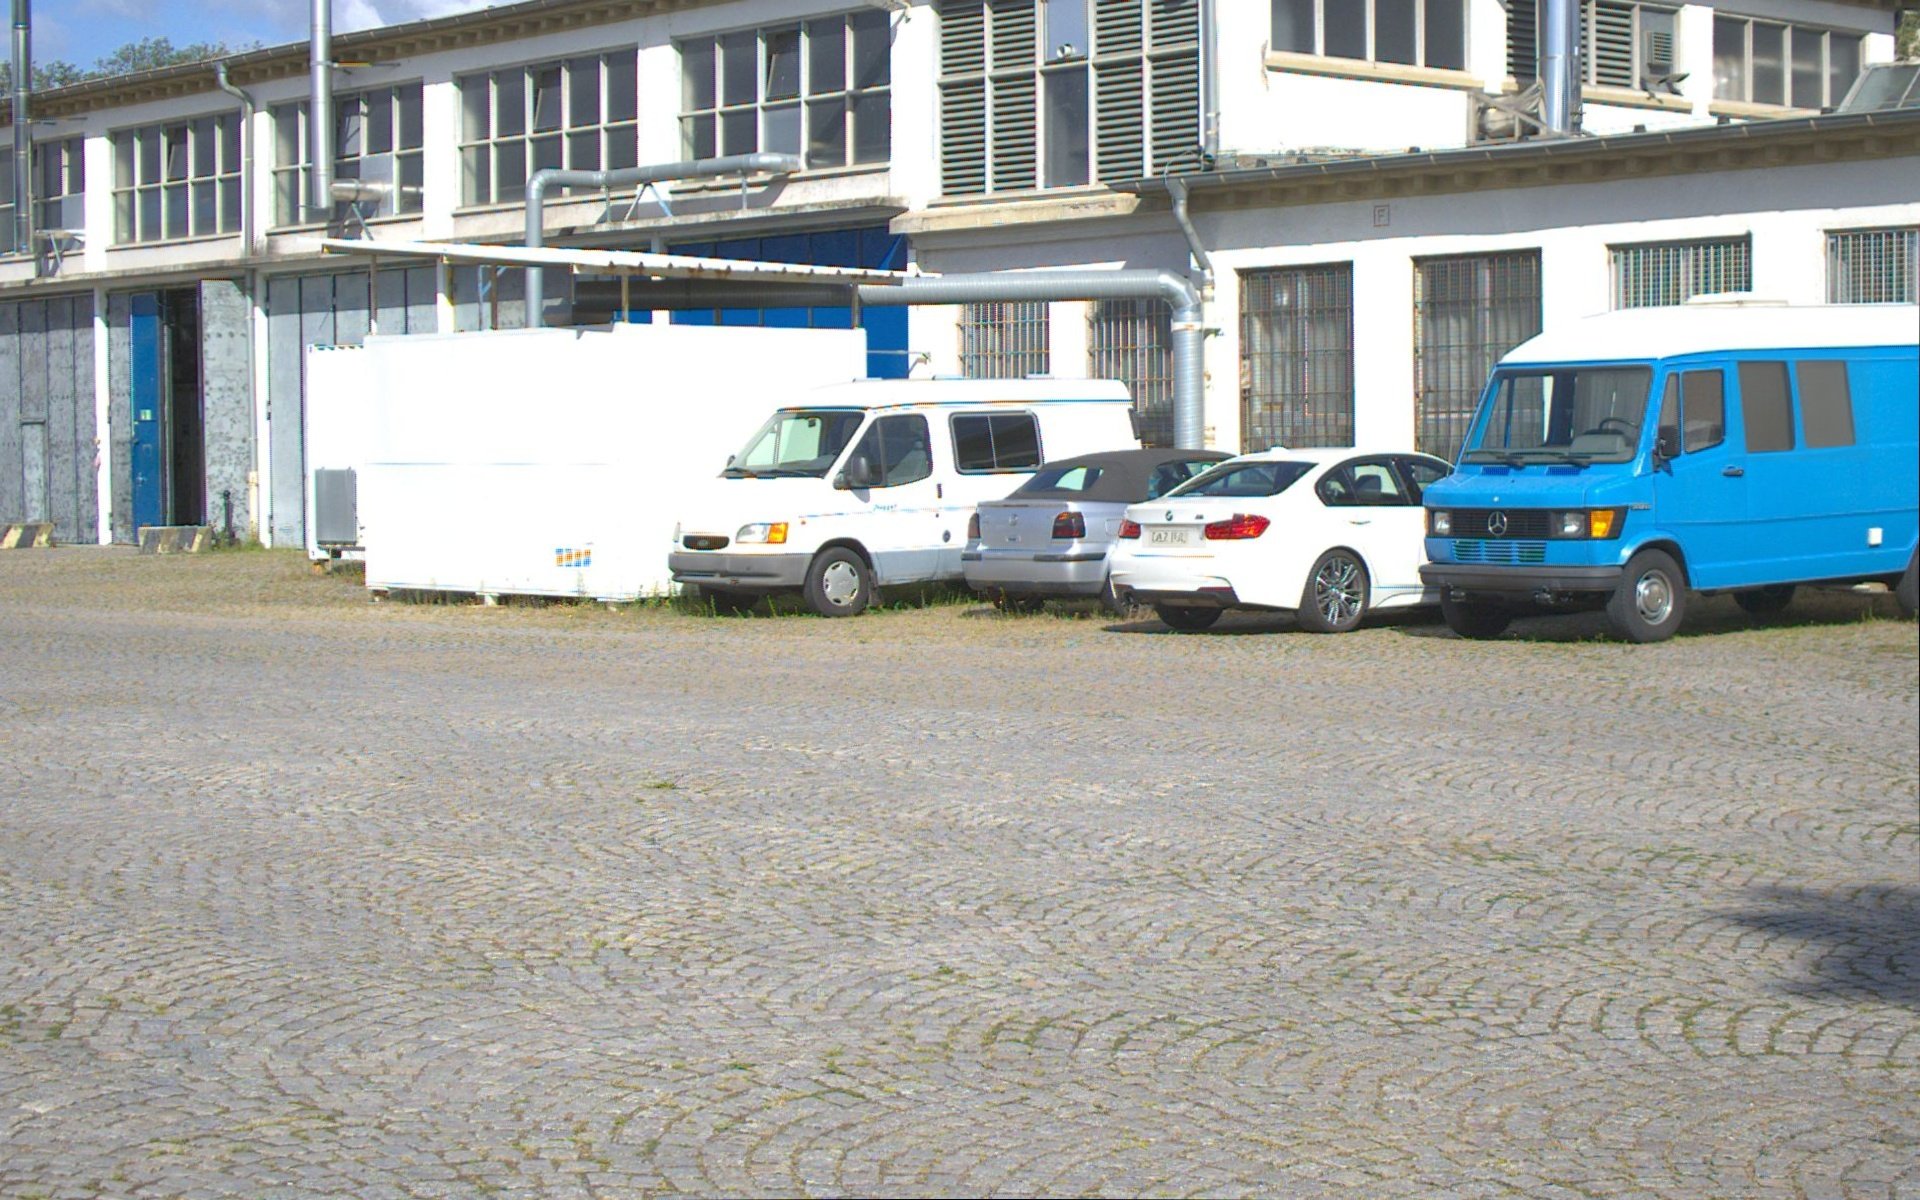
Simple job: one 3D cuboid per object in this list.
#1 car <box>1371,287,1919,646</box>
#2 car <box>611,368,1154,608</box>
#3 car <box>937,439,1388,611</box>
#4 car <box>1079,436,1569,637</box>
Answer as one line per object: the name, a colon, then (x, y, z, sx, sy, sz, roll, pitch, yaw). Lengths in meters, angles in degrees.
car: (5.741, -1.087, 26.142, 5.224, 2.474, 2.089, -4, 4, -38)
car: (-0.662, -1.070, 31.941, 4.791, 2.074, 2.009, -2, 3, -39)
car: (1.814, -0.704, 30.216, 3.820, 1.393, 1.692, -2, 4, -39)
car: (2.948, -0.549, 27.475, 3.728, 1.400, 1.737, -4, 4, -39)
